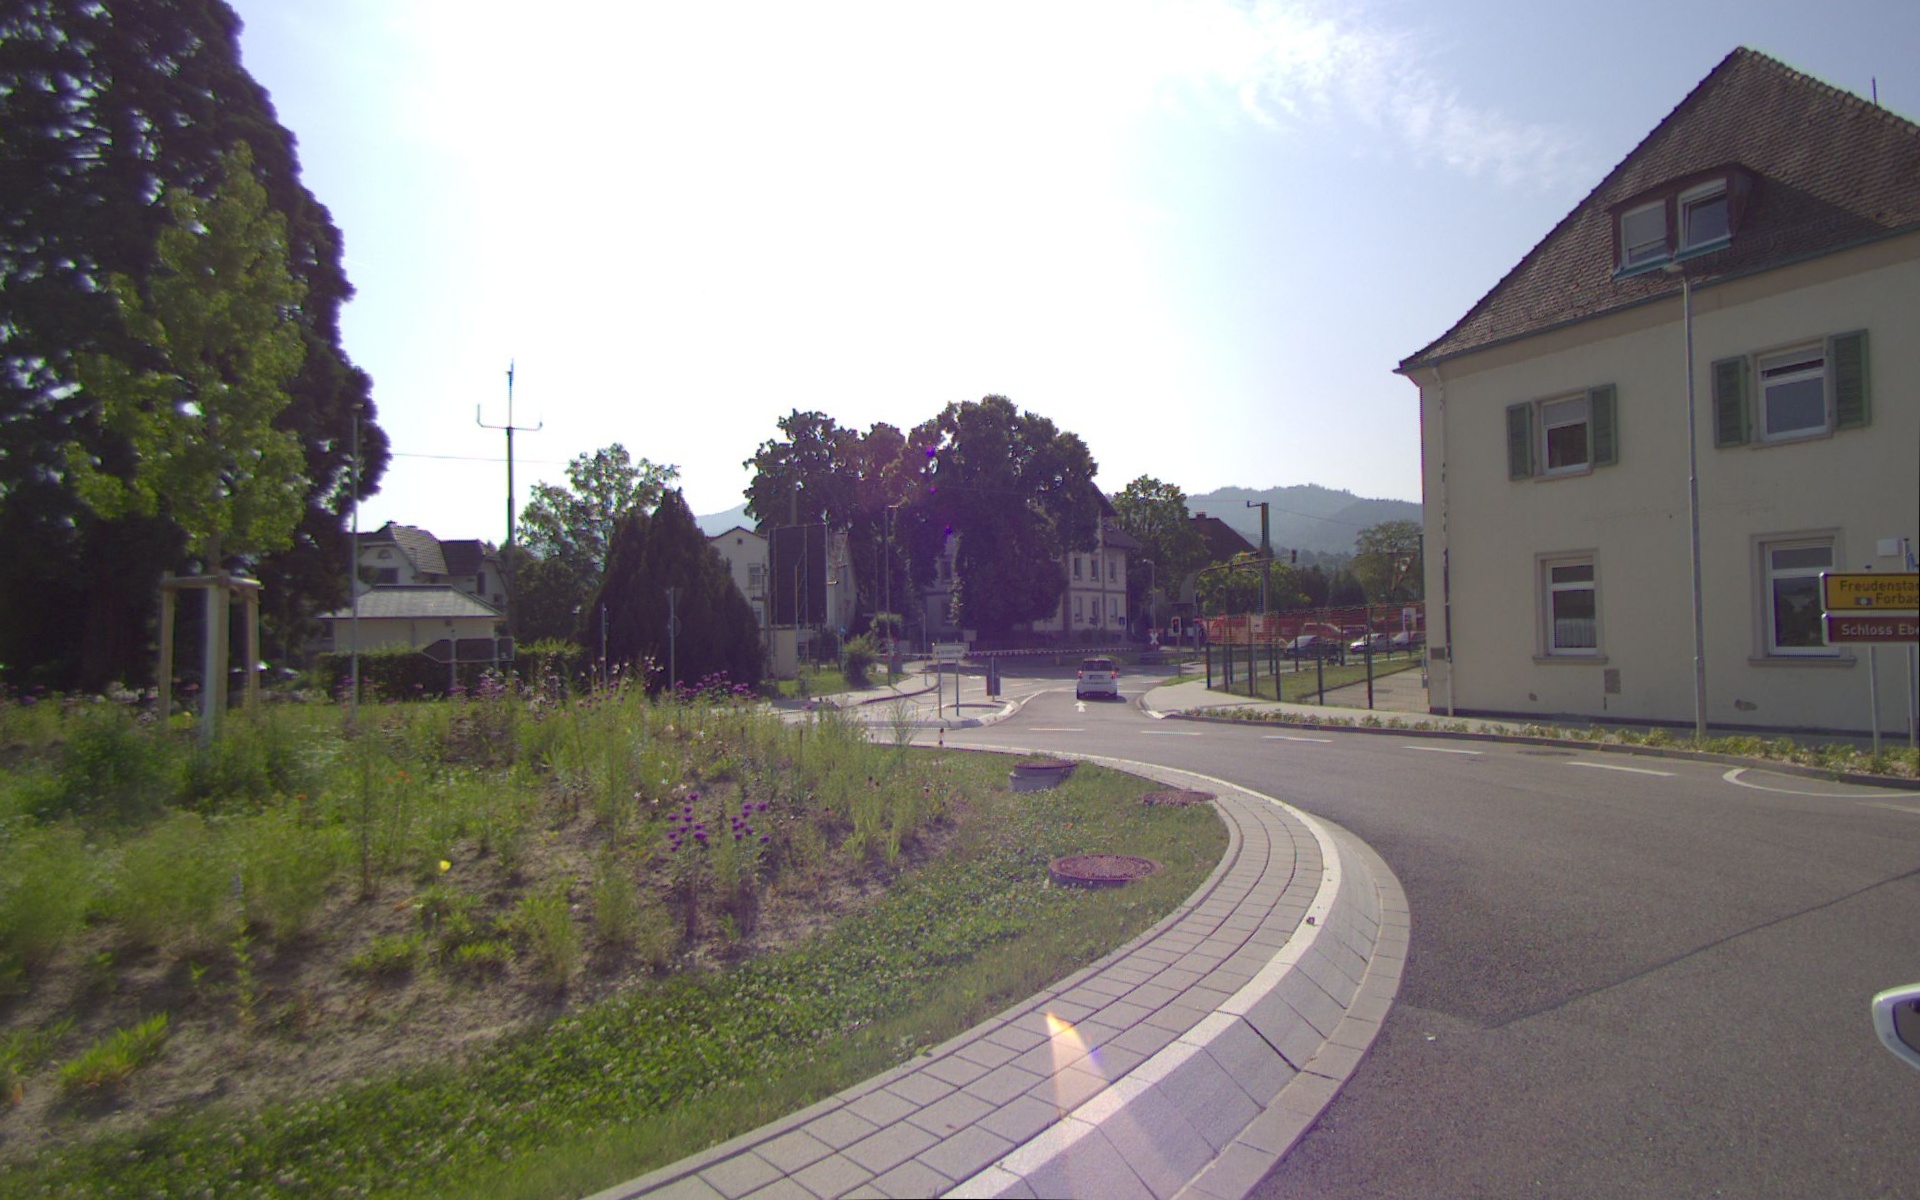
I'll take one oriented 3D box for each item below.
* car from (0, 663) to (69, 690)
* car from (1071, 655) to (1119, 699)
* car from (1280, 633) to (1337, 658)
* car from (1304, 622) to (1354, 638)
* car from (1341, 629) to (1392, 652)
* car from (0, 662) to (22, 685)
[{"bbox_3d":[-47.176,3.874,50.992,1.354,1.112,3.182,0,0,-7],"label":"car"},{"bbox_3d":[5.345,3.036,40.116,1.680,1.416,4.001,-1,0,4],"label":"car"},{"bbox_3d":[22.763,2.922,65.575,3.966,1.416,1.695,-1,0,-39],"label":"car"},{"bbox_3d":[33.682,2.717,91.682,1.702,1.416,3.948,-1,0,-44],"label":"car"},{"bbox_3d":[28.692,2.823,70.866,3.966,1.416,1.695,-1,0,-39],"label":"car"},{"bbox_3d":[-49.897,3.797,51.290,1.355,1.112,3.180,0,0,-10],"label":"car"}]
